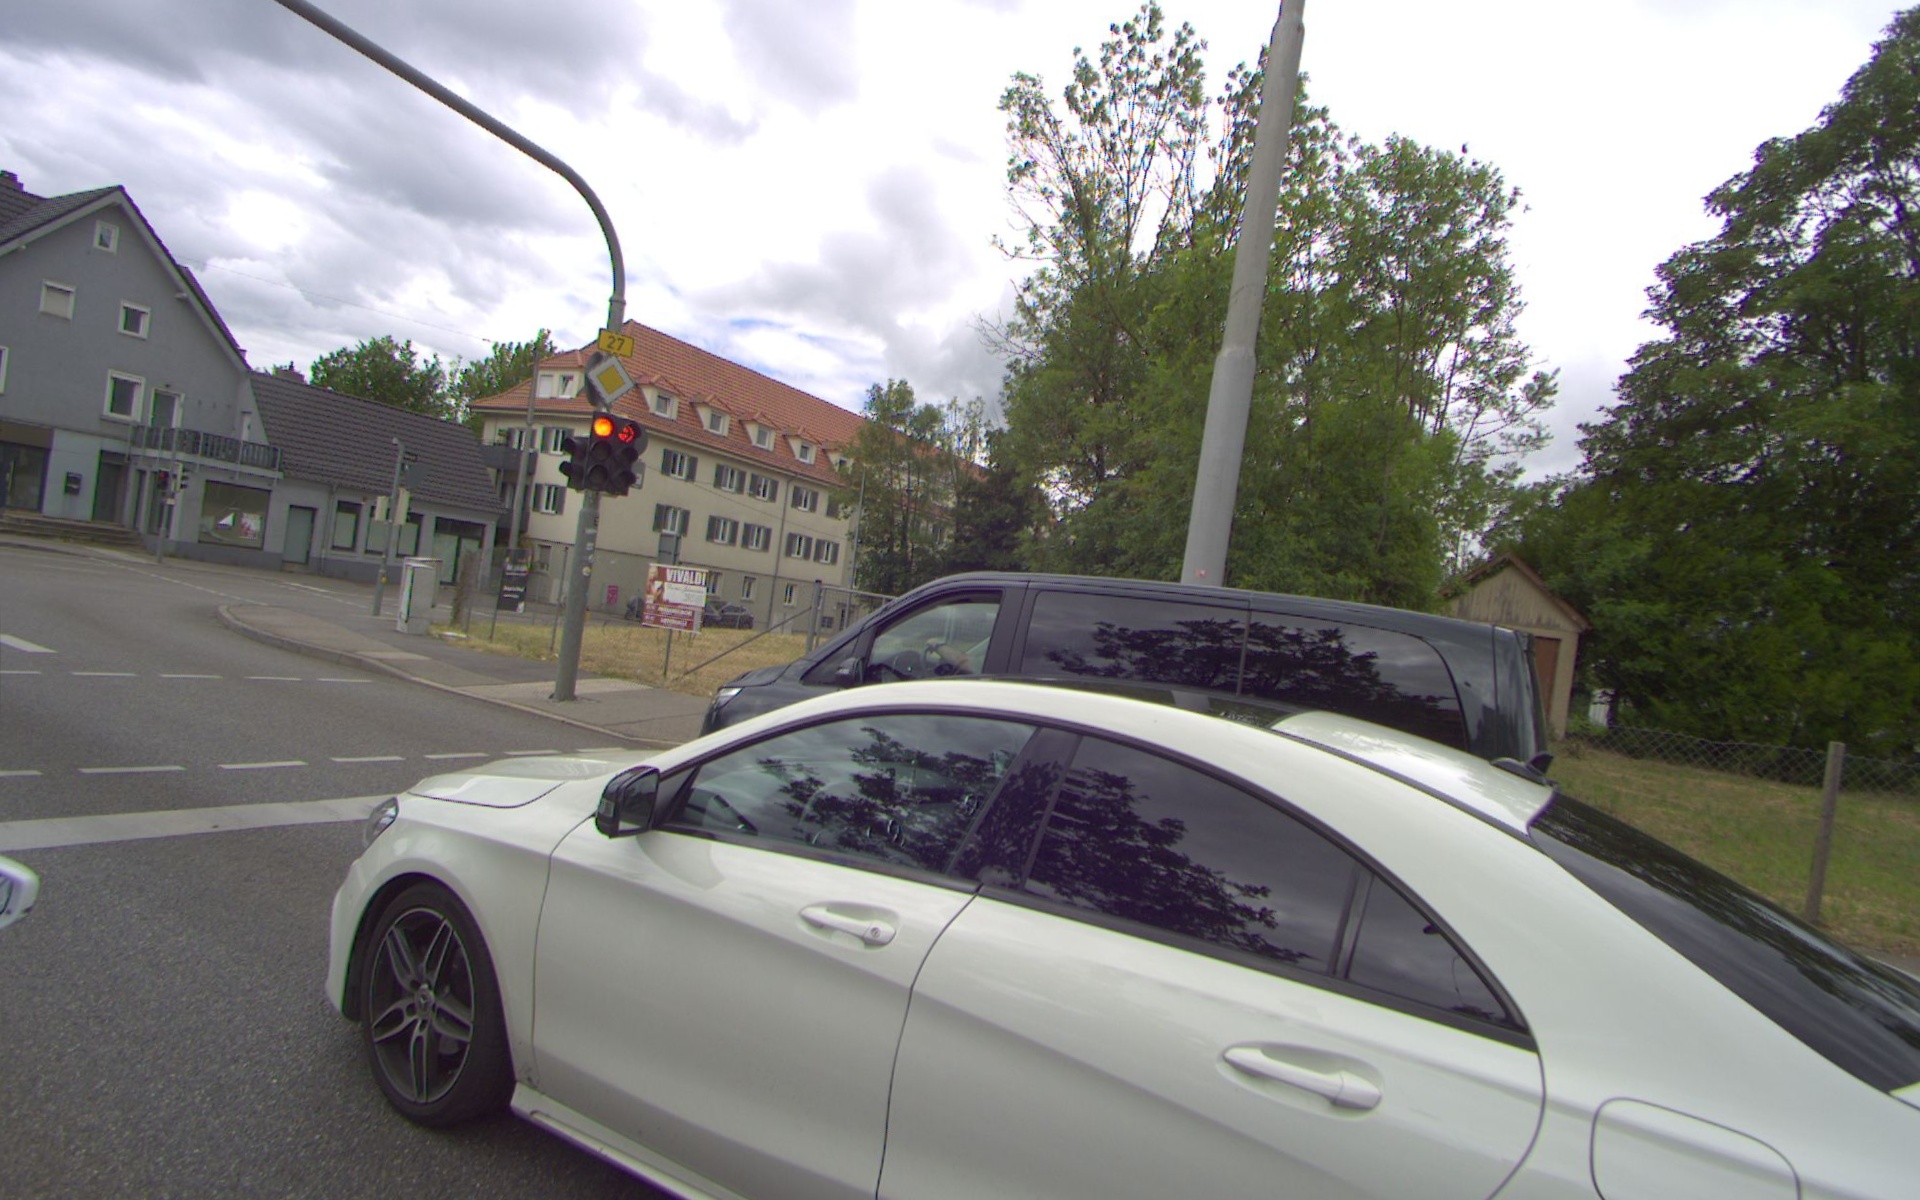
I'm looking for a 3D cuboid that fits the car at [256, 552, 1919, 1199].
[{"bbox_3d":[0.163,0.852,2.642,4.305,1.451,1.651,7,0,32],"label":"car"}]

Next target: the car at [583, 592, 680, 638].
[{"bbox_3d":[-15.518,0.737,47.662,1.839,1.554,3.996,7,-2,32],"label":"car"}]

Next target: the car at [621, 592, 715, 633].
[{"bbox_3d":[-13.692,0.616,47.409,1.838,1.393,3.998,7,-2,29],"label":"car"}]

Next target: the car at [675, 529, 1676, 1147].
[{"bbox_3d":[0.901,0.842,5.532,4.631,1.860,1.953,7,-2,32],"label":"car"}]

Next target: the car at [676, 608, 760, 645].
[{"bbox_3d":[-12.623,1.399,52.650,1.839,1.393,3.996,7,-2,32],"label":"car"}]
